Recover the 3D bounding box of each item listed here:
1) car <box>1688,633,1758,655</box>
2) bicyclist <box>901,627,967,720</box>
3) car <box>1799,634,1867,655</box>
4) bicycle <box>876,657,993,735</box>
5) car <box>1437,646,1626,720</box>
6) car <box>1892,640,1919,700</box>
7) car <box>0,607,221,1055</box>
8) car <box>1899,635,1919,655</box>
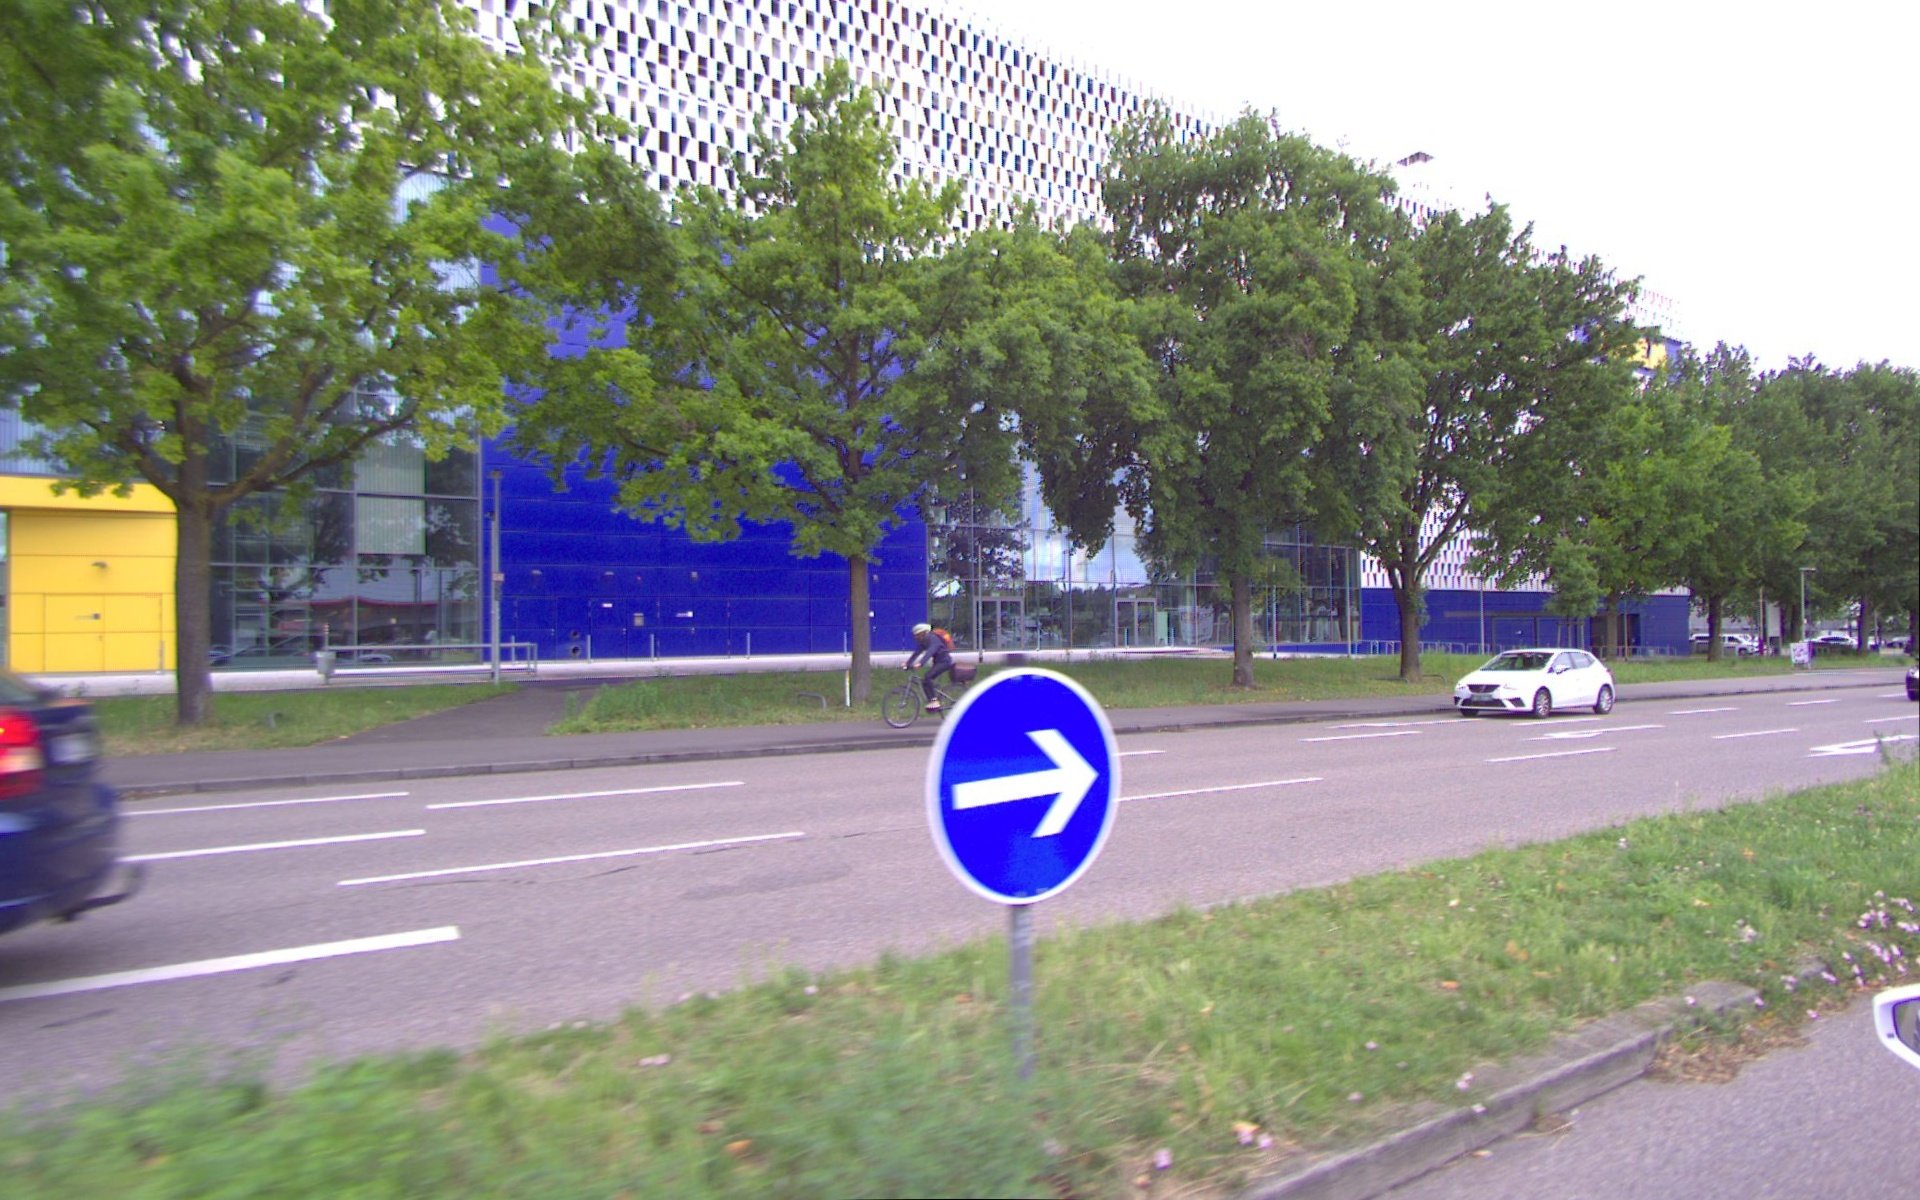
[{"bbox_3d":[74.748,4.257,98.444,1.859,1.990,5.105,-2,-1,-31],"label":"car"},{"bbox_3d":[-0.473,1.291,17.984,0.989,1.598,0.637,1,0,-31],"label":"bicyclist"},{"bbox_3d":[80.975,4.091,93.255,1.979,1.734,4.405,-3,0,-34],"label":"car"},{"bbox_3d":[-0.441,1.679,17.888,2.033,1.267,0.639,1,0,-32],"label":"bicycle"},{"bbox_3d":[12.533,1.792,21.985,4.123,1.473,1.856,2,-5,-33],"label":"car"},{"bbox_3d":[25.599,1.739,25.450,3.952,1.472,1.750,1,-3,-29],"label":"car"},{"bbox_3d":[-5.264,0.806,3.283,4.389,1.505,1.921,1,-4,-32],"label":"car"},{"bbox_3d":[82.931,3.826,85.143,1.981,1.681,4.513,1,-3,-36],"label":"car"}]
